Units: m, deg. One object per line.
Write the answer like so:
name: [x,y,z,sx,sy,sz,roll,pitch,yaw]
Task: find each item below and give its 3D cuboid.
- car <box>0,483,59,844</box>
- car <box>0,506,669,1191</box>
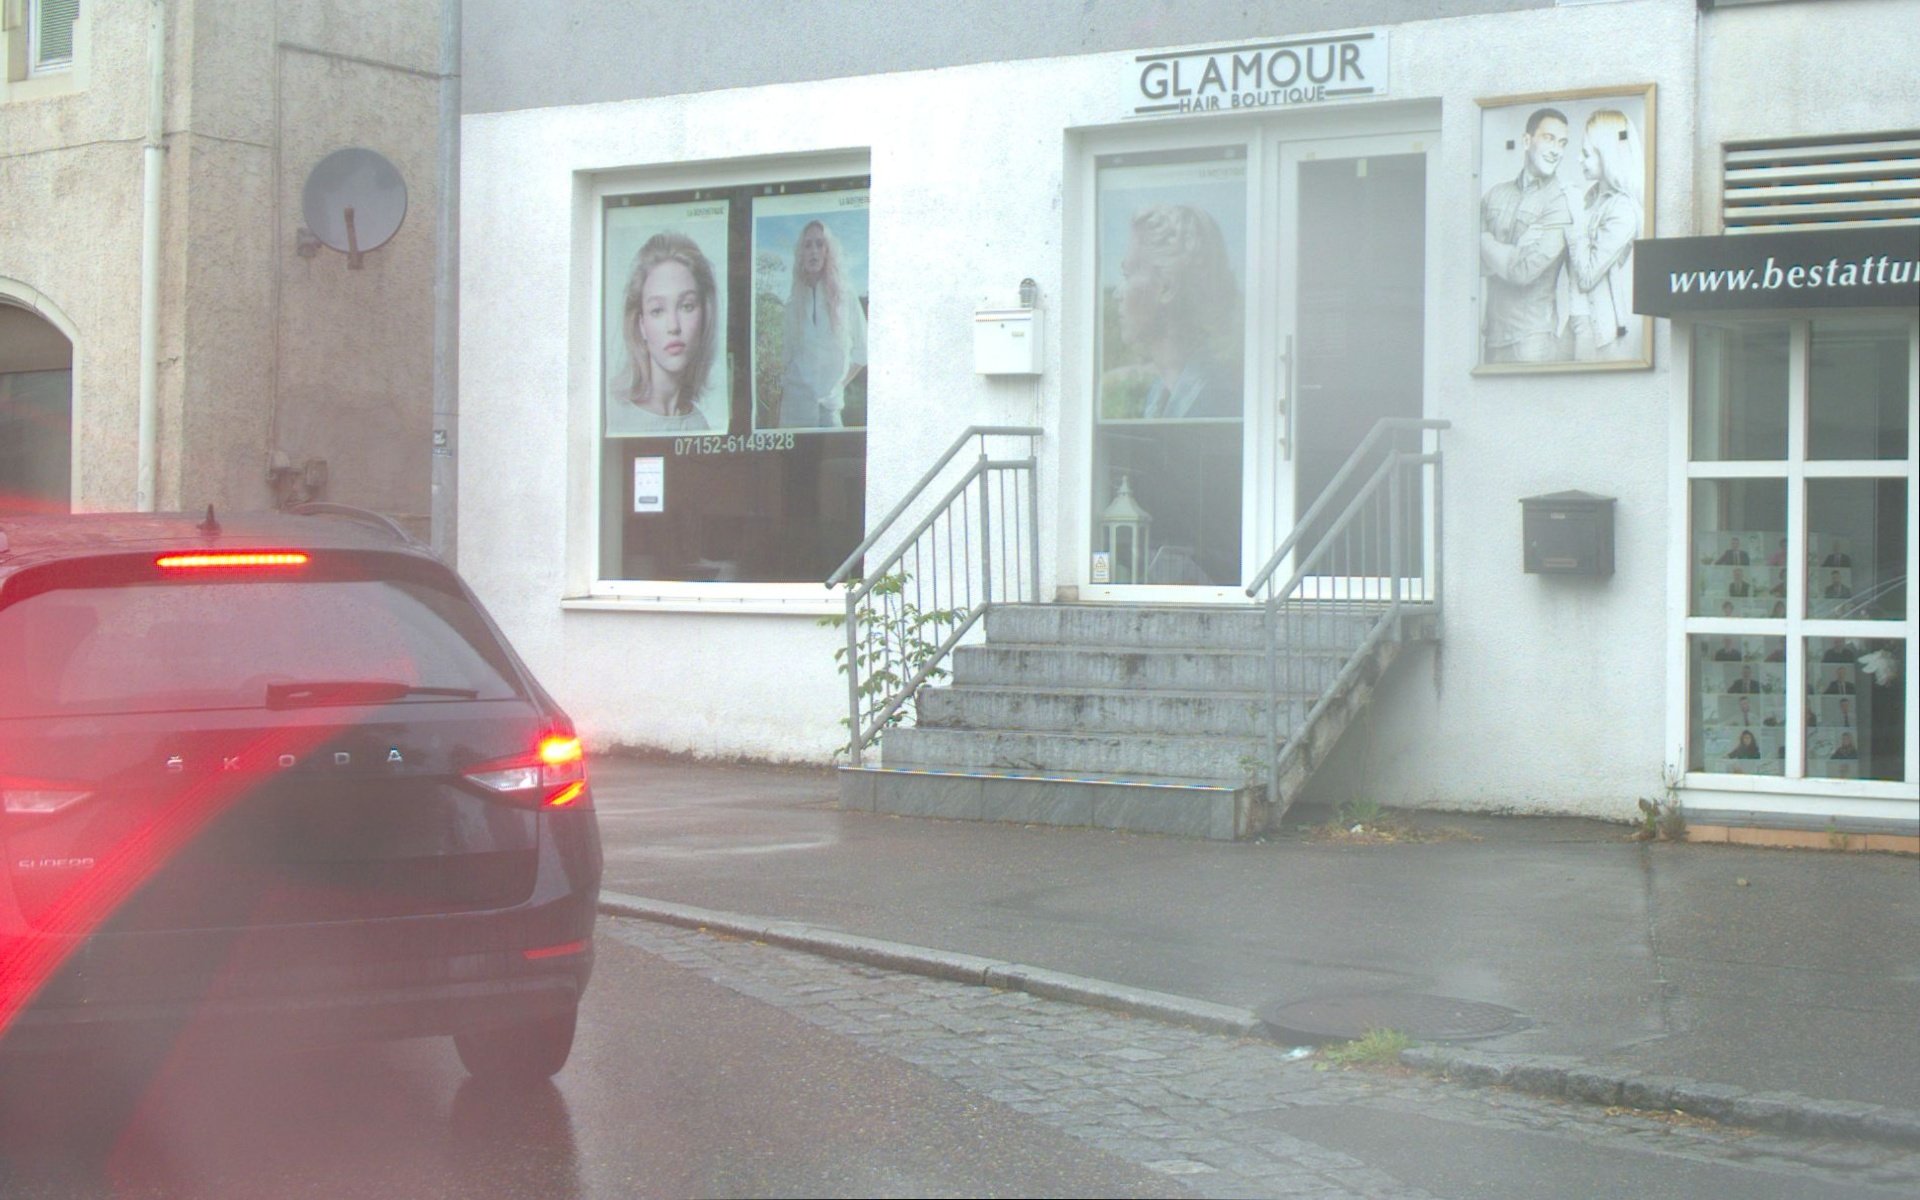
car: [-5.623,0.222,15.155,1.857,1.468,3.999,-1,2,-36]
car: [-2.316,0.472,9.449,1.886,1.443,4.358,0,1,-21]
